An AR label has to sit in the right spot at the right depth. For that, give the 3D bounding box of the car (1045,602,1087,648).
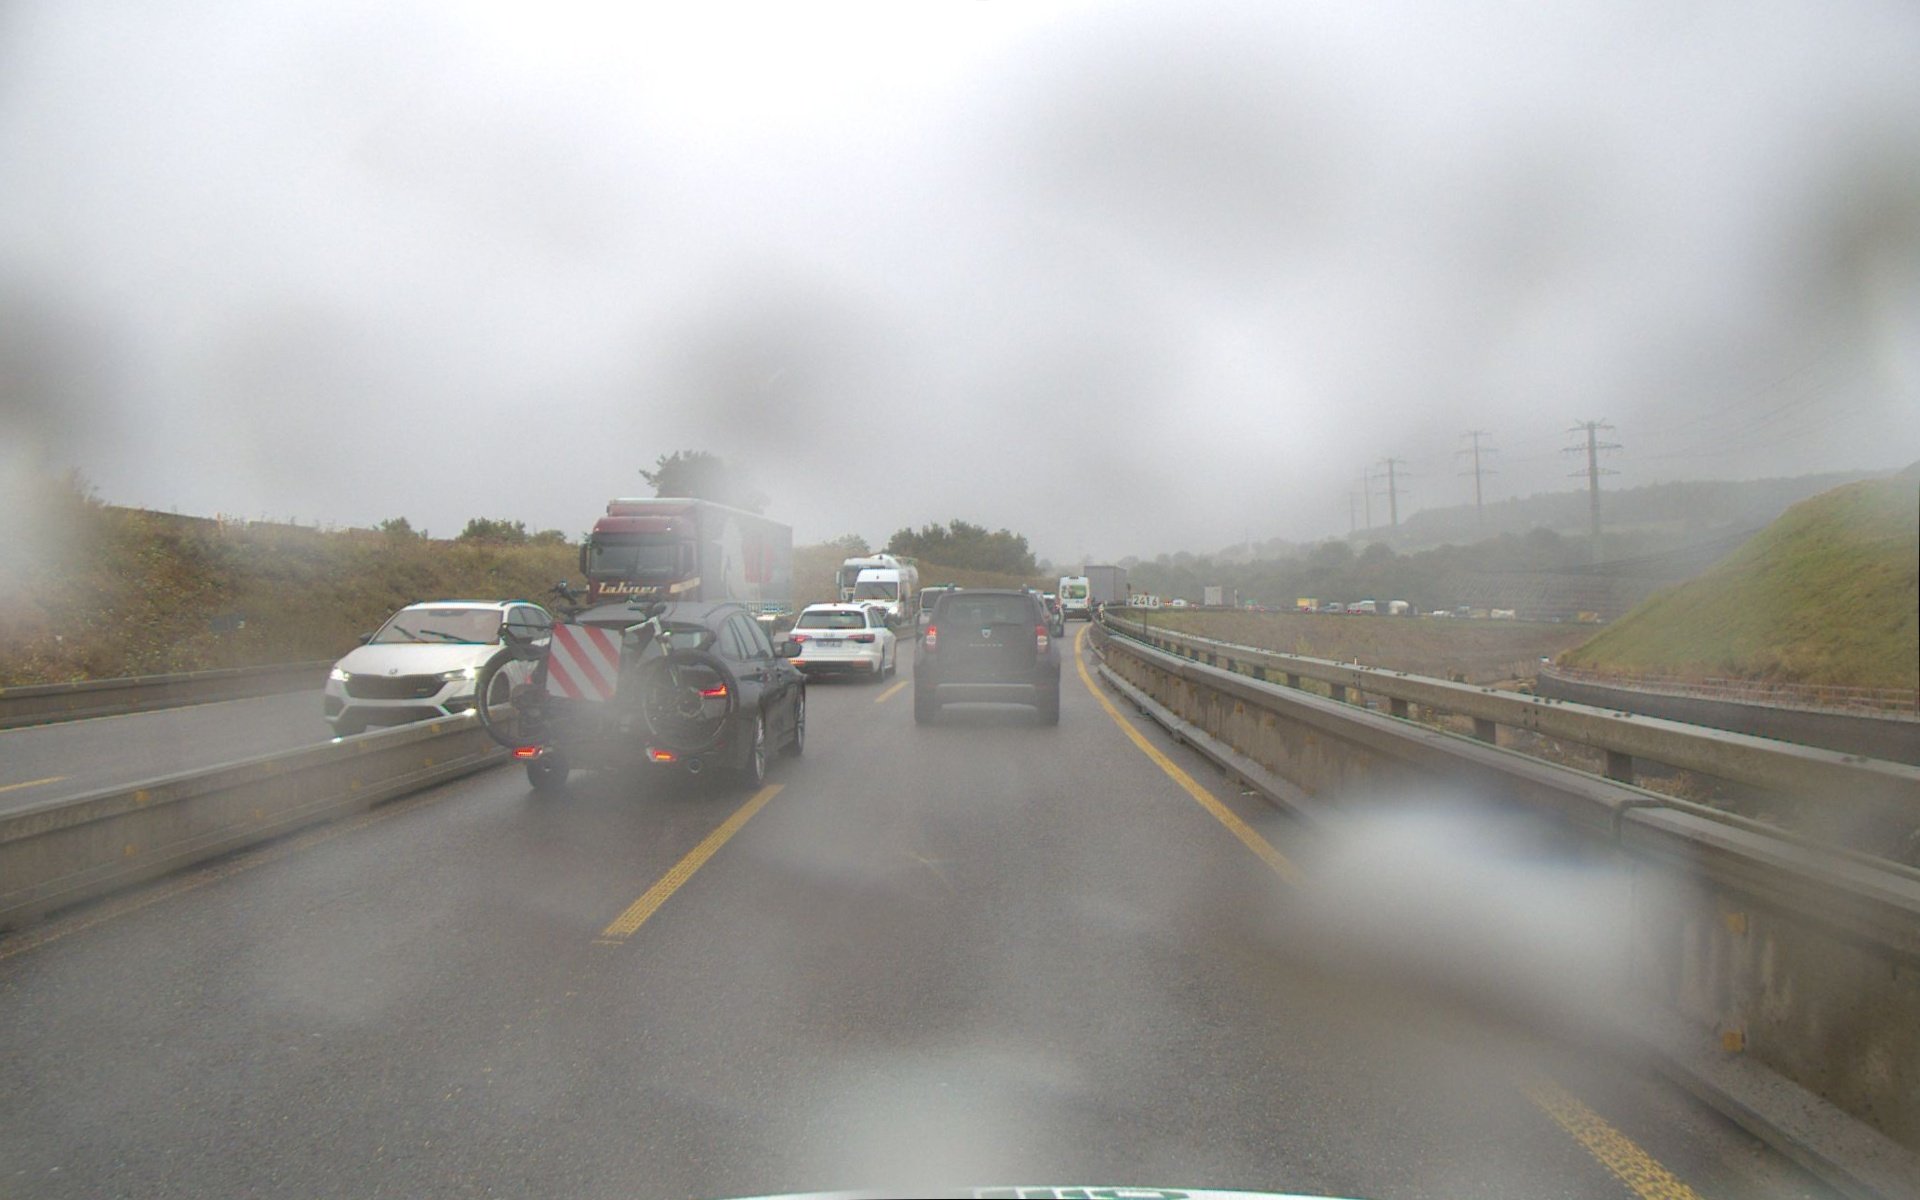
[{"bbox_3d":[3.988,0.907,62.015,1.498,1.669,4.015,1,0,4],"label":"car"}]

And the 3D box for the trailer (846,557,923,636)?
[{"bbox_3d":[-4.051,-0.155,91.611,3.187,4.033,11.540,-1,0,3],"label":"trailer"}]

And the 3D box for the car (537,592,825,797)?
[{"bbox_3d":[-2.218,0.714,14.125,1.791,1.502,3.776,0,-1,0],"label":"car"}]

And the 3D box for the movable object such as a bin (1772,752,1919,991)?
[{"bbox_3d":[27.761,7.527,46.481,4.790,5.770,12.095,1,-3,5],"label":"movable object such as a bin"}]

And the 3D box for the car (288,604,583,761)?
[{"bbox_3d":[-5.678,0.816,18.567,1.708,1.529,4.635,1,0,2],"label":"car"}]

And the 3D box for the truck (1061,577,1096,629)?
[{"bbox_3d":[7.652,0.172,106.727,2.104,3.221,6.463,1,0,4],"label":"truck"}]

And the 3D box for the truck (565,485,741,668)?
[{"bbox_3d":[-8.159,-0.608,44.924,2.917,4.486,6.935,-2,0,4],"label":"truck"}]

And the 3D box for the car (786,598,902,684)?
[{"bbox_3d":[-2.113,0.729,31.254,1.829,1.486,4.548,1,0,0],"label":"car"}]

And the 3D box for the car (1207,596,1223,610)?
[{"bbox_3d":[34.241,0.403,221.778,1.737,1.949,4.003,1,0,14],"label":"car"}]

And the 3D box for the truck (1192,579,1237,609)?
[{"bbox_3d":[37.658,-0.771,243.711,4.617,4.222,15.692,1,0,16],"label":"truck"}]

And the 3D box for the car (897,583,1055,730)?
[{"bbox_3d":[0.289,0.666,20.904,1.766,1.675,3.778,0,-1,4],"label":"car"}]

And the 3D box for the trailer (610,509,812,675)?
[{"bbox_3d":[-7.581,-0.272,53.440,2.932,4.498,15.711,-2,0,4],"label":"trailer"}]

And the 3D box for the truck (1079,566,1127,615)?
[{"bbox_3d":[11.547,-0.716,132.797,3.132,3.827,8.516,1,0,10],"label":"truck"}]

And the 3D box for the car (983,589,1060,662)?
[{"bbox_3d":[1.528,0.620,41.670,1.829,1.738,4.001,0,0,1],"label":"car"}]

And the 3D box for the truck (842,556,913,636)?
[{"bbox_3d":[-4.259,-0.172,86.510,3.164,4.025,5.882,-1,0,2],"label":"truck"}]

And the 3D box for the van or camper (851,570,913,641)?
[{"bbox_3d":[-3.050,0.210,65.920,2.232,2.660,5.827,1,0,-1],"label":"van or camper"}]

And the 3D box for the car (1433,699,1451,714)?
[{"bbox_3d":[63.839,14.077,219.020,1.951,1.848,4.003,0,-1,13],"label":"car"}]

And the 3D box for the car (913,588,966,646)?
[{"bbox_3d":[-0.659,0.568,56.615,1.626,1.913,4.020,1,0,2],"label":"car"}]

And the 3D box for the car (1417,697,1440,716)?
[{"bbox_3d":[57.187,12.947,201.836,2.314,2.049,4.003,1,0,11],"label":"car"}]
